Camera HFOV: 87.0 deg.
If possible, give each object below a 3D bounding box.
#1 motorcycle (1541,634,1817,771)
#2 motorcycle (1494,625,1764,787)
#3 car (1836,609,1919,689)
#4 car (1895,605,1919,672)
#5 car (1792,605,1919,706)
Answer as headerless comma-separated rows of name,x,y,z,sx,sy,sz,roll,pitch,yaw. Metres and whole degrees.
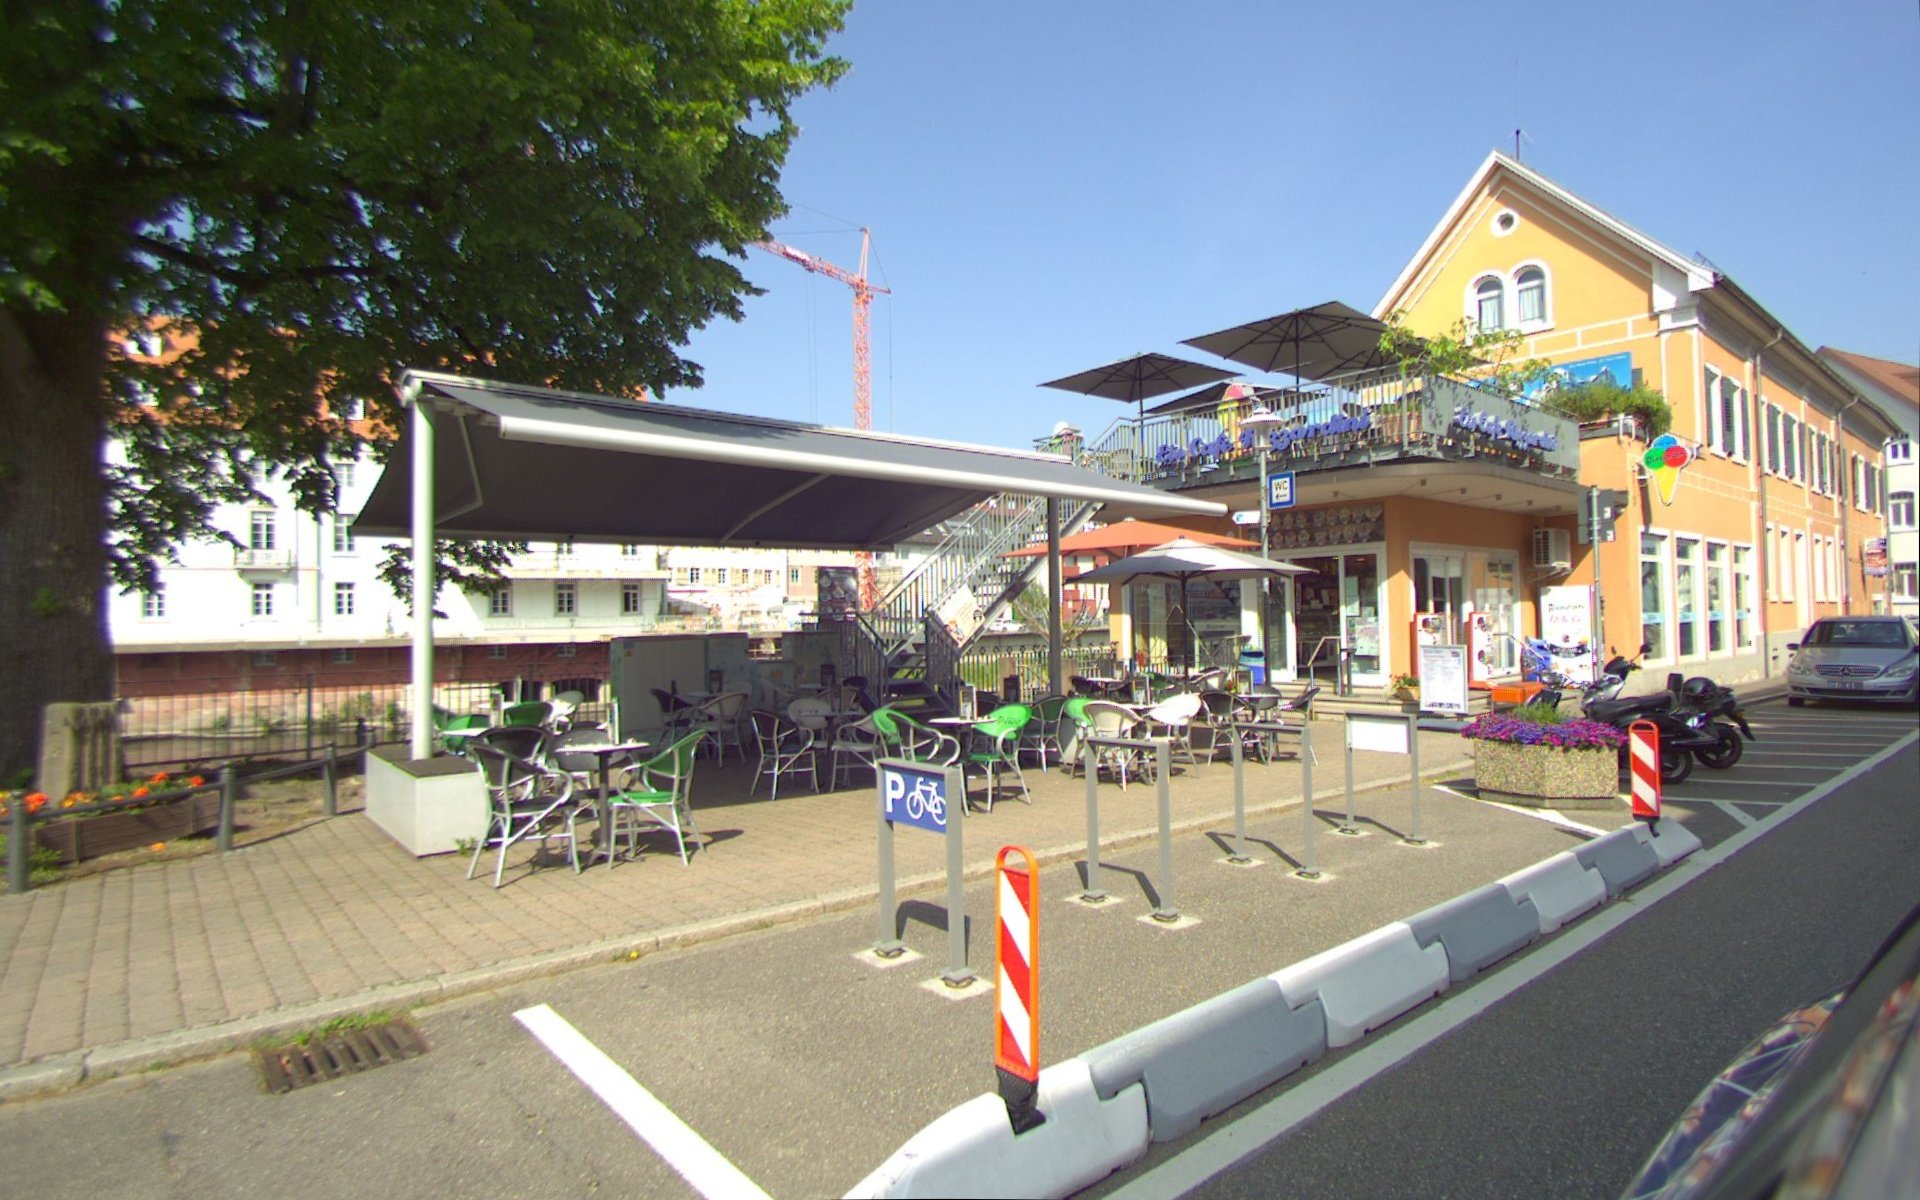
motorcycle,7.228,1.000,10.305,2.057,1.286,0.926,0,-1,10
motorcycle,6.141,0.930,9.432,1.873,1.375,0.912,0,-1,15
car,20.388,1.003,21.746,4.030,1.579,1.682,1,-2,-40
car,25.869,0.980,26.375,4.175,1.666,1.682,1,-1,-40
car,16.534,0.932,18.209,4.515,1.618,1.747,1,-2,-42
